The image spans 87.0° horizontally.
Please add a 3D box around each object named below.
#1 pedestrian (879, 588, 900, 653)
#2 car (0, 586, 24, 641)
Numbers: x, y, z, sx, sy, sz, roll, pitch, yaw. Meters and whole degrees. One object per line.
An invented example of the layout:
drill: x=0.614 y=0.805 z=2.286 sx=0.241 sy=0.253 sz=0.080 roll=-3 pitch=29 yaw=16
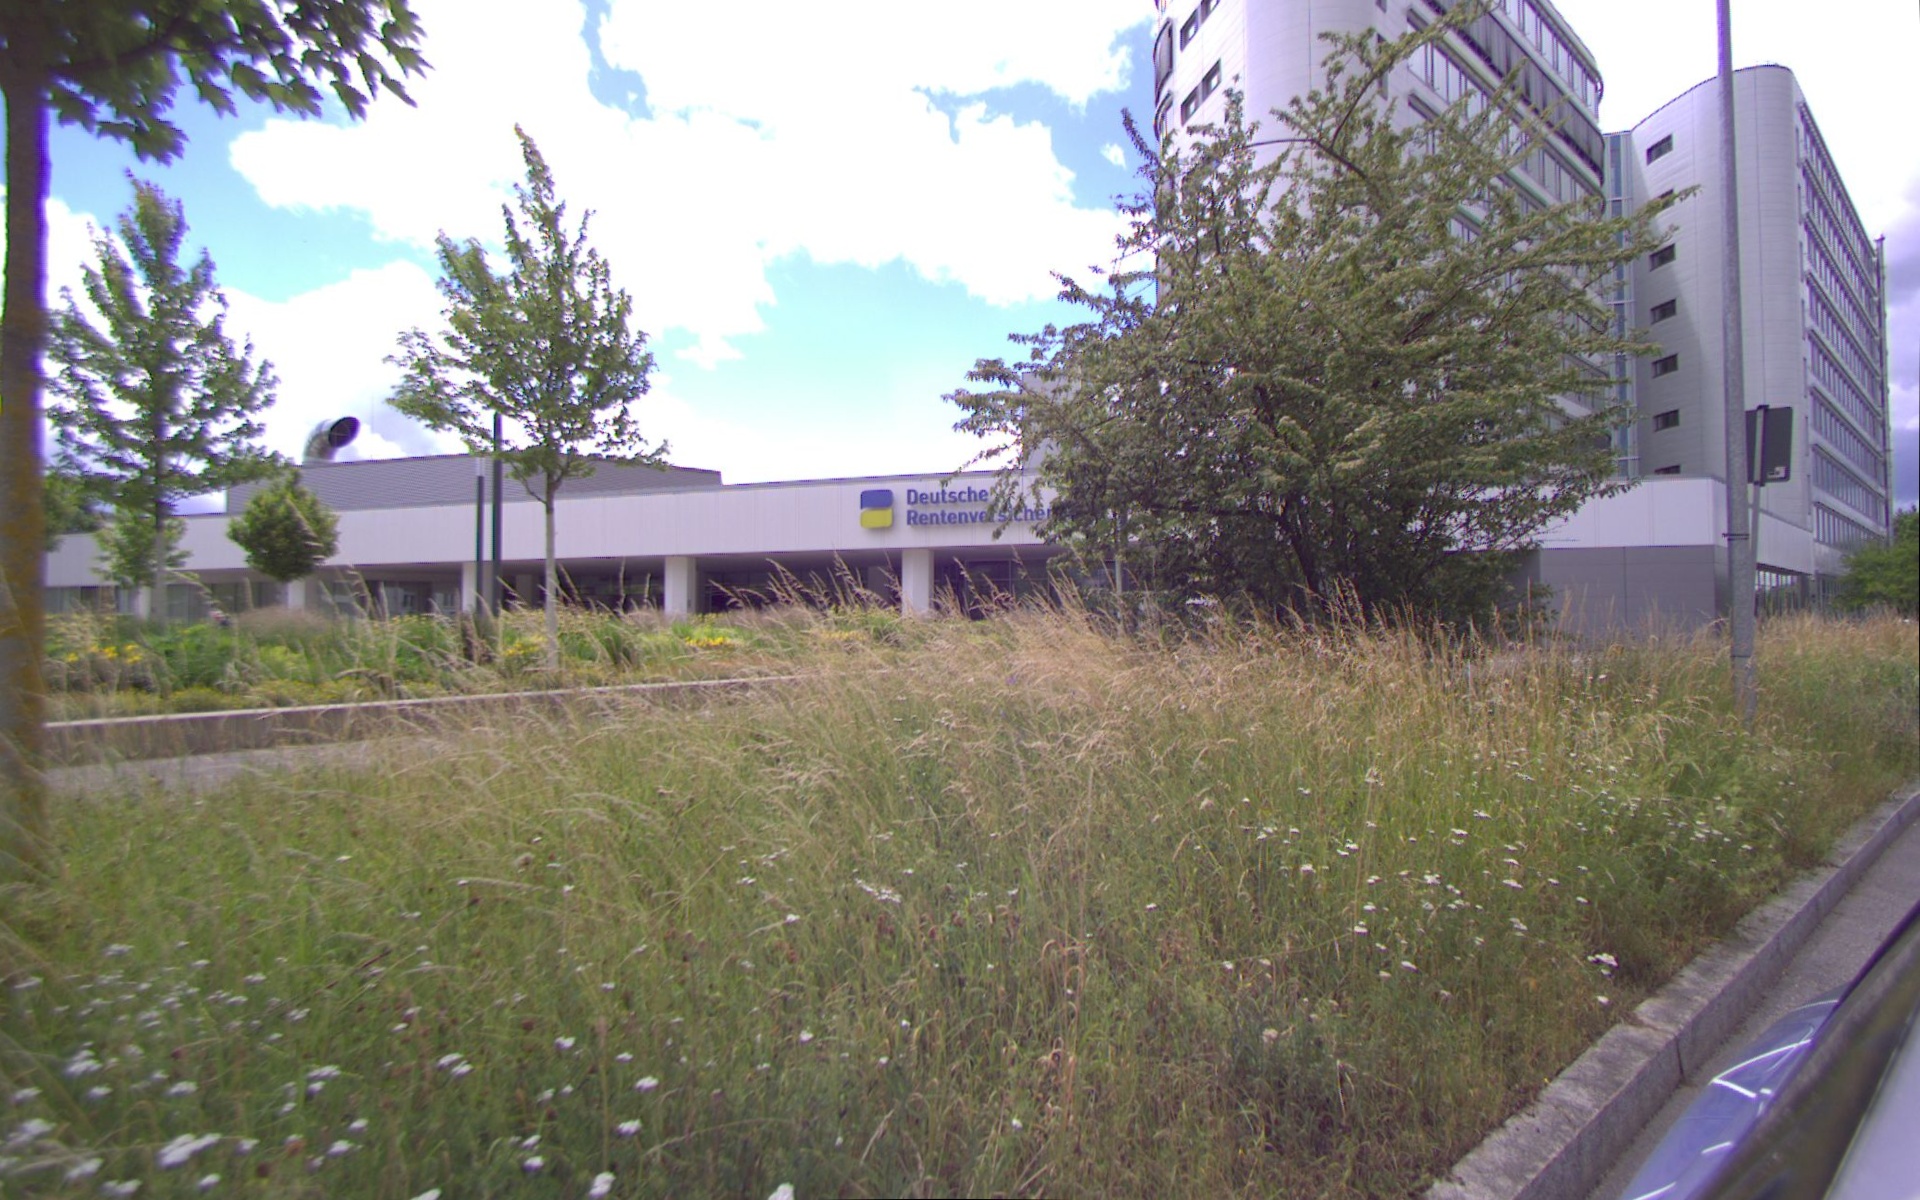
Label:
pedestrian: x=-2.225 y=0.648 z=31.893 sx=0.596 sy=2.040 sz=0.695 roll=0 pitch=-2 yaw=0
car: x=-46.105 y=0.659 z=46.657 sx=4.727 sy=2.506 sz=2.435 roll=-1 pitch=-1 yaw=20
